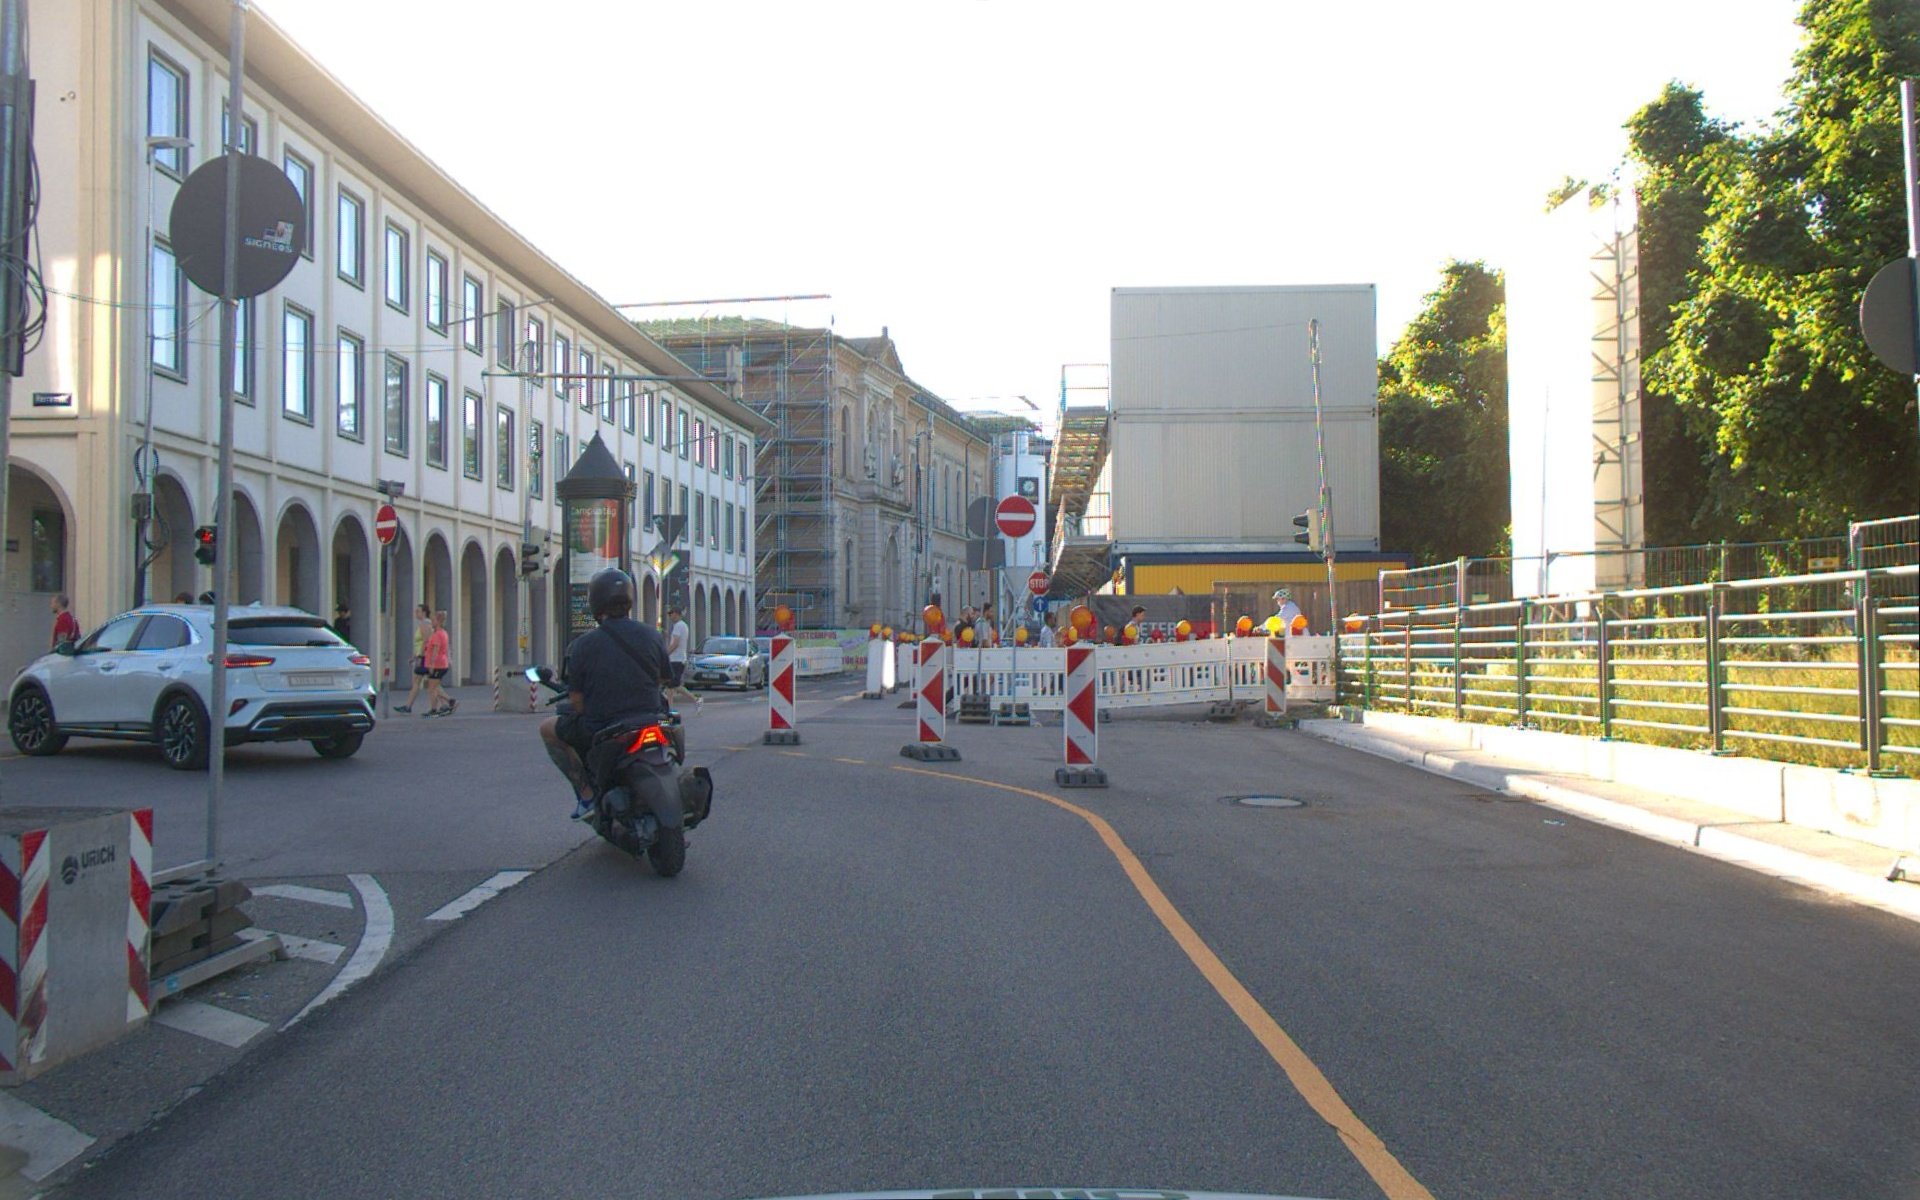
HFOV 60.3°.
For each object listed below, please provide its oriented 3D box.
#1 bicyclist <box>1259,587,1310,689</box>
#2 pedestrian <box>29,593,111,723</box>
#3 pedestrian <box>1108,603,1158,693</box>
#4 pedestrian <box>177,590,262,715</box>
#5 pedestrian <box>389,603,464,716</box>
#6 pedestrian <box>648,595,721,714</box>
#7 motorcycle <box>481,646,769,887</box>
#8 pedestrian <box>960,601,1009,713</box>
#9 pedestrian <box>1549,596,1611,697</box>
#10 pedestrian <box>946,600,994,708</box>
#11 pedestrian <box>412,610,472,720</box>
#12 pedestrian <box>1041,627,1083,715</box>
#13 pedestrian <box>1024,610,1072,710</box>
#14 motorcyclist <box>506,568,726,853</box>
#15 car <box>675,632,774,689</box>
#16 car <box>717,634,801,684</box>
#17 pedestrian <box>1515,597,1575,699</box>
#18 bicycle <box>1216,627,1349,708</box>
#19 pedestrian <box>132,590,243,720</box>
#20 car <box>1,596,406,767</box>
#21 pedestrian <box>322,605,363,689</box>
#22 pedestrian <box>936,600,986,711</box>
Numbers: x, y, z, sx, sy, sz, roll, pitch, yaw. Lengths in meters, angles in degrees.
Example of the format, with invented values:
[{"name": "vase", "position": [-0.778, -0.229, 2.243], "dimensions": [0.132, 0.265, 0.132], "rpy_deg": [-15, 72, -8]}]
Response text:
[{"name": "bicyclist", "position": [4.982, 0.589, 25.459], "dimensions": [0.687, 1.543, 0.686], "rpy_deg": [0, -2, 5]}, {"name": "pedestrian", "position": [-12.837, 0.825, 23.869], "dimensions": [0.757, 1.833, 0.711], "rpy_deg": [-1, 1, 0]}, {"name": "pedestrian", "position": [2.928, 0.812, 28.046], "dimensions": [0.752, 1.488, 0.666], "rpy_deg": [-2, -1, 3]}, {"name": "pedestrian", "position": [-11.000, 0.770, 24.590], "dimensions": [0.919, 1.808, 0.711], "rpy_deg": [-1, 1, 0]}, {"name": "pedestrian", "position": [-8.385, 0.920, 26.011], "dimensions": [0.945, 1.739, 0.675], "rpy_deg": [0, 1, 0]}, {"name": "pedestrian", "position": [-4.229, 0.835, 25.437], "dimensions": [0.954, 1.759, 0.798], "rpy_deg": [-2, -2, 0]}, {"name": "motorcycle", "position": [-2.102, 0.912, 10.013], "dimensions": [0.897, 1.204, 2.551], "rpy_deg": [0, 0, -31]}, {"name": "pedestrian", "position": [0.414, 0.930, 27.307], "dimensions": [0.721, 1.802, 0.622], "rpy_deg": [-2, -1, 3]}, {"name": "pedestrian", "position": [9.977, 0.743, 26.607], "dimensions": [0.654, 1.593, 0.740], "rpy_deg": [-3, -1, 43]}, {"name": "pedestrian", "position": [0.170, 0.918, 28.252], "dimensions": [0.721, 1.802, 0.724], "rpy_deg": [-2, -1, 3]}, {"name": "pedestrian", "position": [-7.944, 0.986, 25.378], "dimensions": [0.710, 1.652, 0.620], "rpy_deg": [0, 1, 0]}, {"name": "pedestrian", "position": [1.568, 1.087, 25.530], "dimensions": [0.605, 1.322, 0.494], "rpy_deg": [2, -1, 2]}, {"name": "pedestrian", "position": [1.489, 1.002, 27.970], "dimensions": [0.752, 1.647, 0.666], "rpy_deg": [-2, -1, 3]}, {"name": "motorcyclist", "position": [-2.098, 0.615, 9.987], "dimensions": [0.945, 1.587, 1.225], "rpy_deg": [0, -1, -32]}, {"name": "car", "position": [-6.482, 1.707, 45.959], "dimensions": [1.884, 1.492, 4.001], "rpy_deg": [1, -3, 4]}, {"name": "car", "position": [-6.333, 1.907, 52.437], "dimensions": [1.884, 1.492, 4.001], "rpy_deg": [1, -3, 4]}, {"name": "pedestrian", "position": [9.577, 0.786, 27.111], "dimensions": [0.721, 1.632, 0.644], "rpy_deg": [-2, -1, 3]}, {"name": "bicycle", "position": [4.957, 1.037, 25.487], "dimensions": [1.951, 1.222, 0.477], "rpy_deg": [0, -2, 2]}, {"name": "pedestrian", "position": [-11.175, 0.782, 23.955], "dimensions": [1.217, 1.833, 0.716], "rpy_deg": [-1, 1, 0]}, {"name": "car", "position": [-7.512, 0.762, 16.344], "dimensions": [3.916, 1.498, 1.859], "rpy_deg": [-1, -2, 34]}, {"name": "pedestrian", "position": [-14.058, 1.072, 37.674], "dimensions": [0.627, 1.872, 0.727], "rpy_deg": [0, 1, 3]}, {"name": "pedestrian", "position": [0.017, 0.882, 26.670], "dimensions": [0.721, 1.746, 0.622], "rpy_deg": [-2, -1, 3]}]
